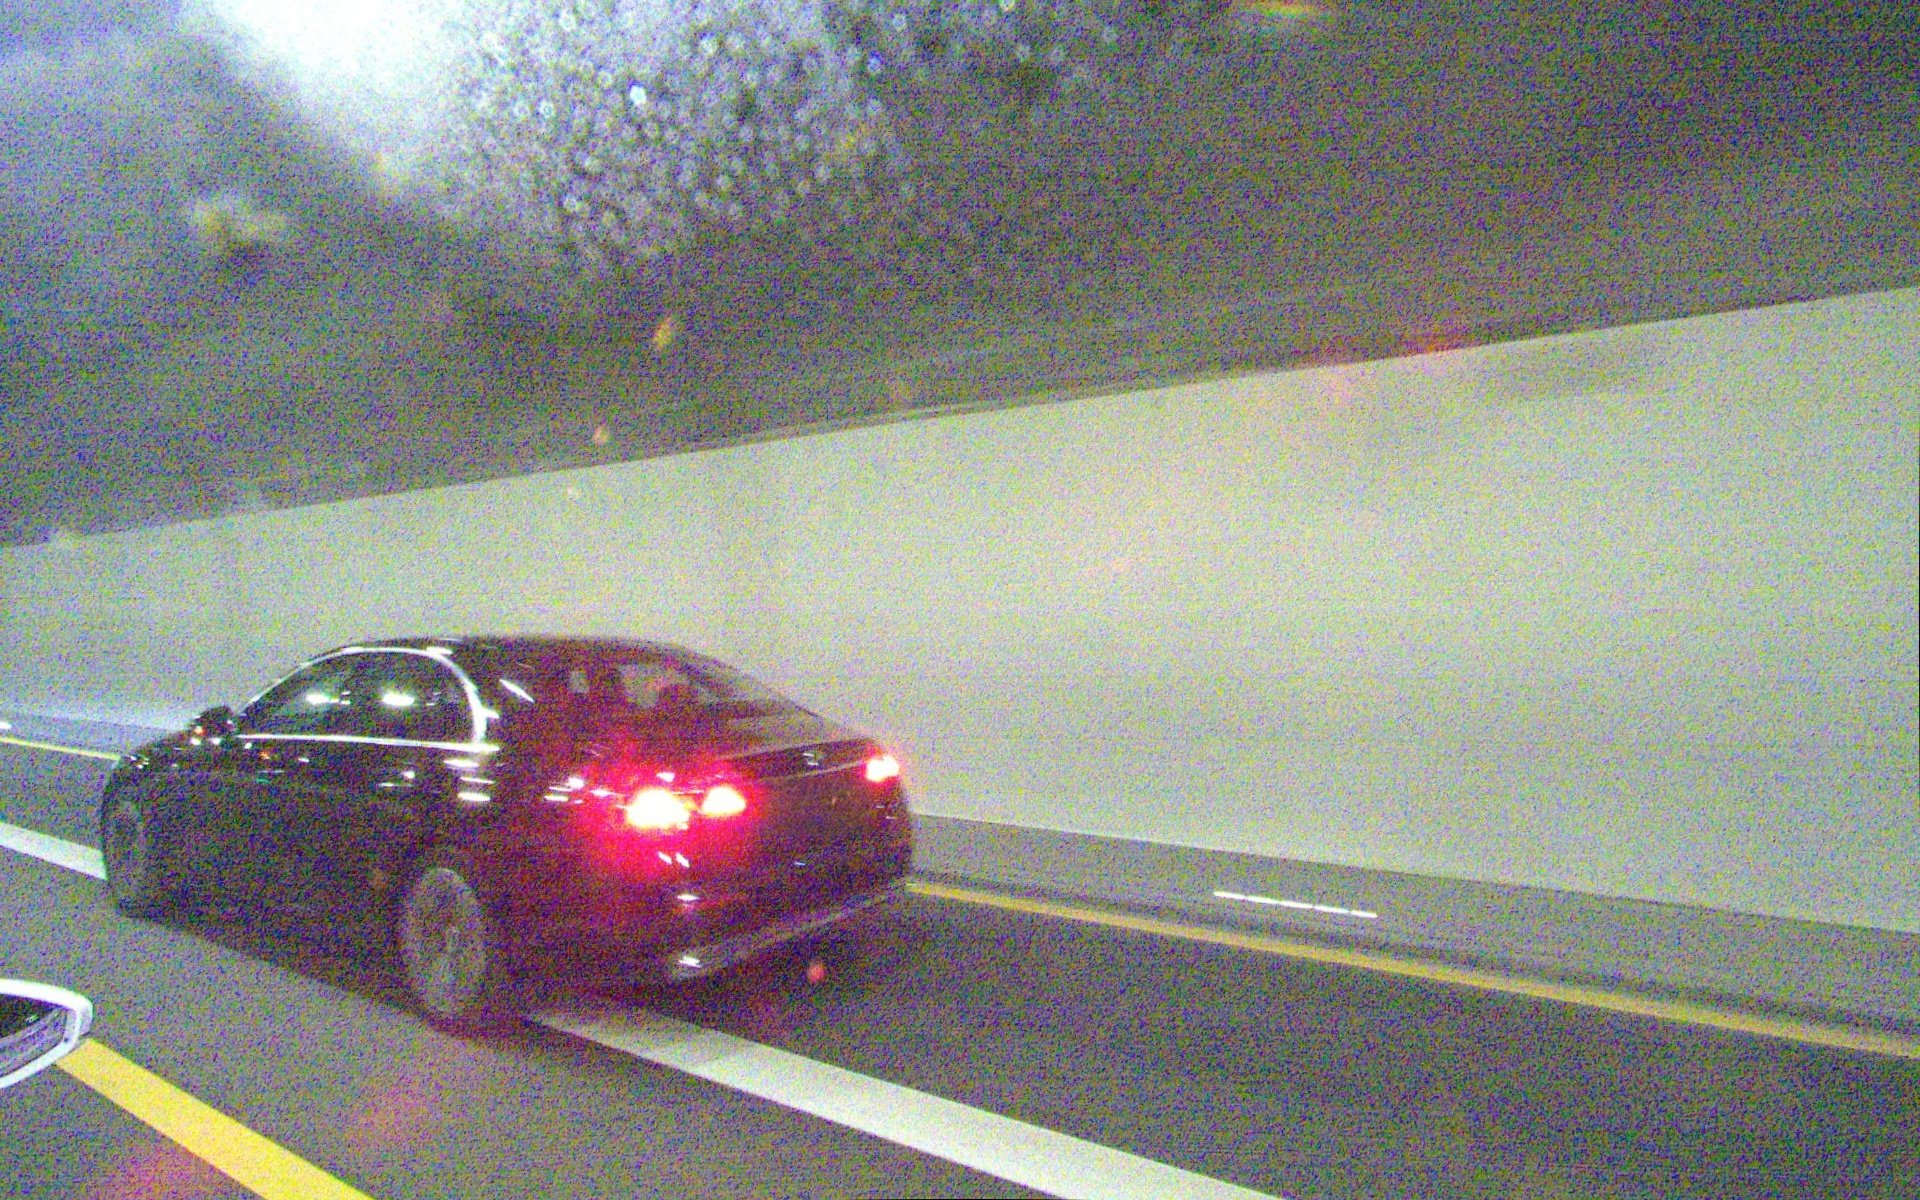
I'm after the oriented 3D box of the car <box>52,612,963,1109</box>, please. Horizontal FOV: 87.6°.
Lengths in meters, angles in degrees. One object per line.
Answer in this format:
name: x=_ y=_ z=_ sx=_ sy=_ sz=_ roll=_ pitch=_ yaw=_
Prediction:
car: x=-2.551 y=0.867 z=5.158 sx=4.884 sy=1.491 sz=1.923 roll=-1 pitch=-3 yaw=32
